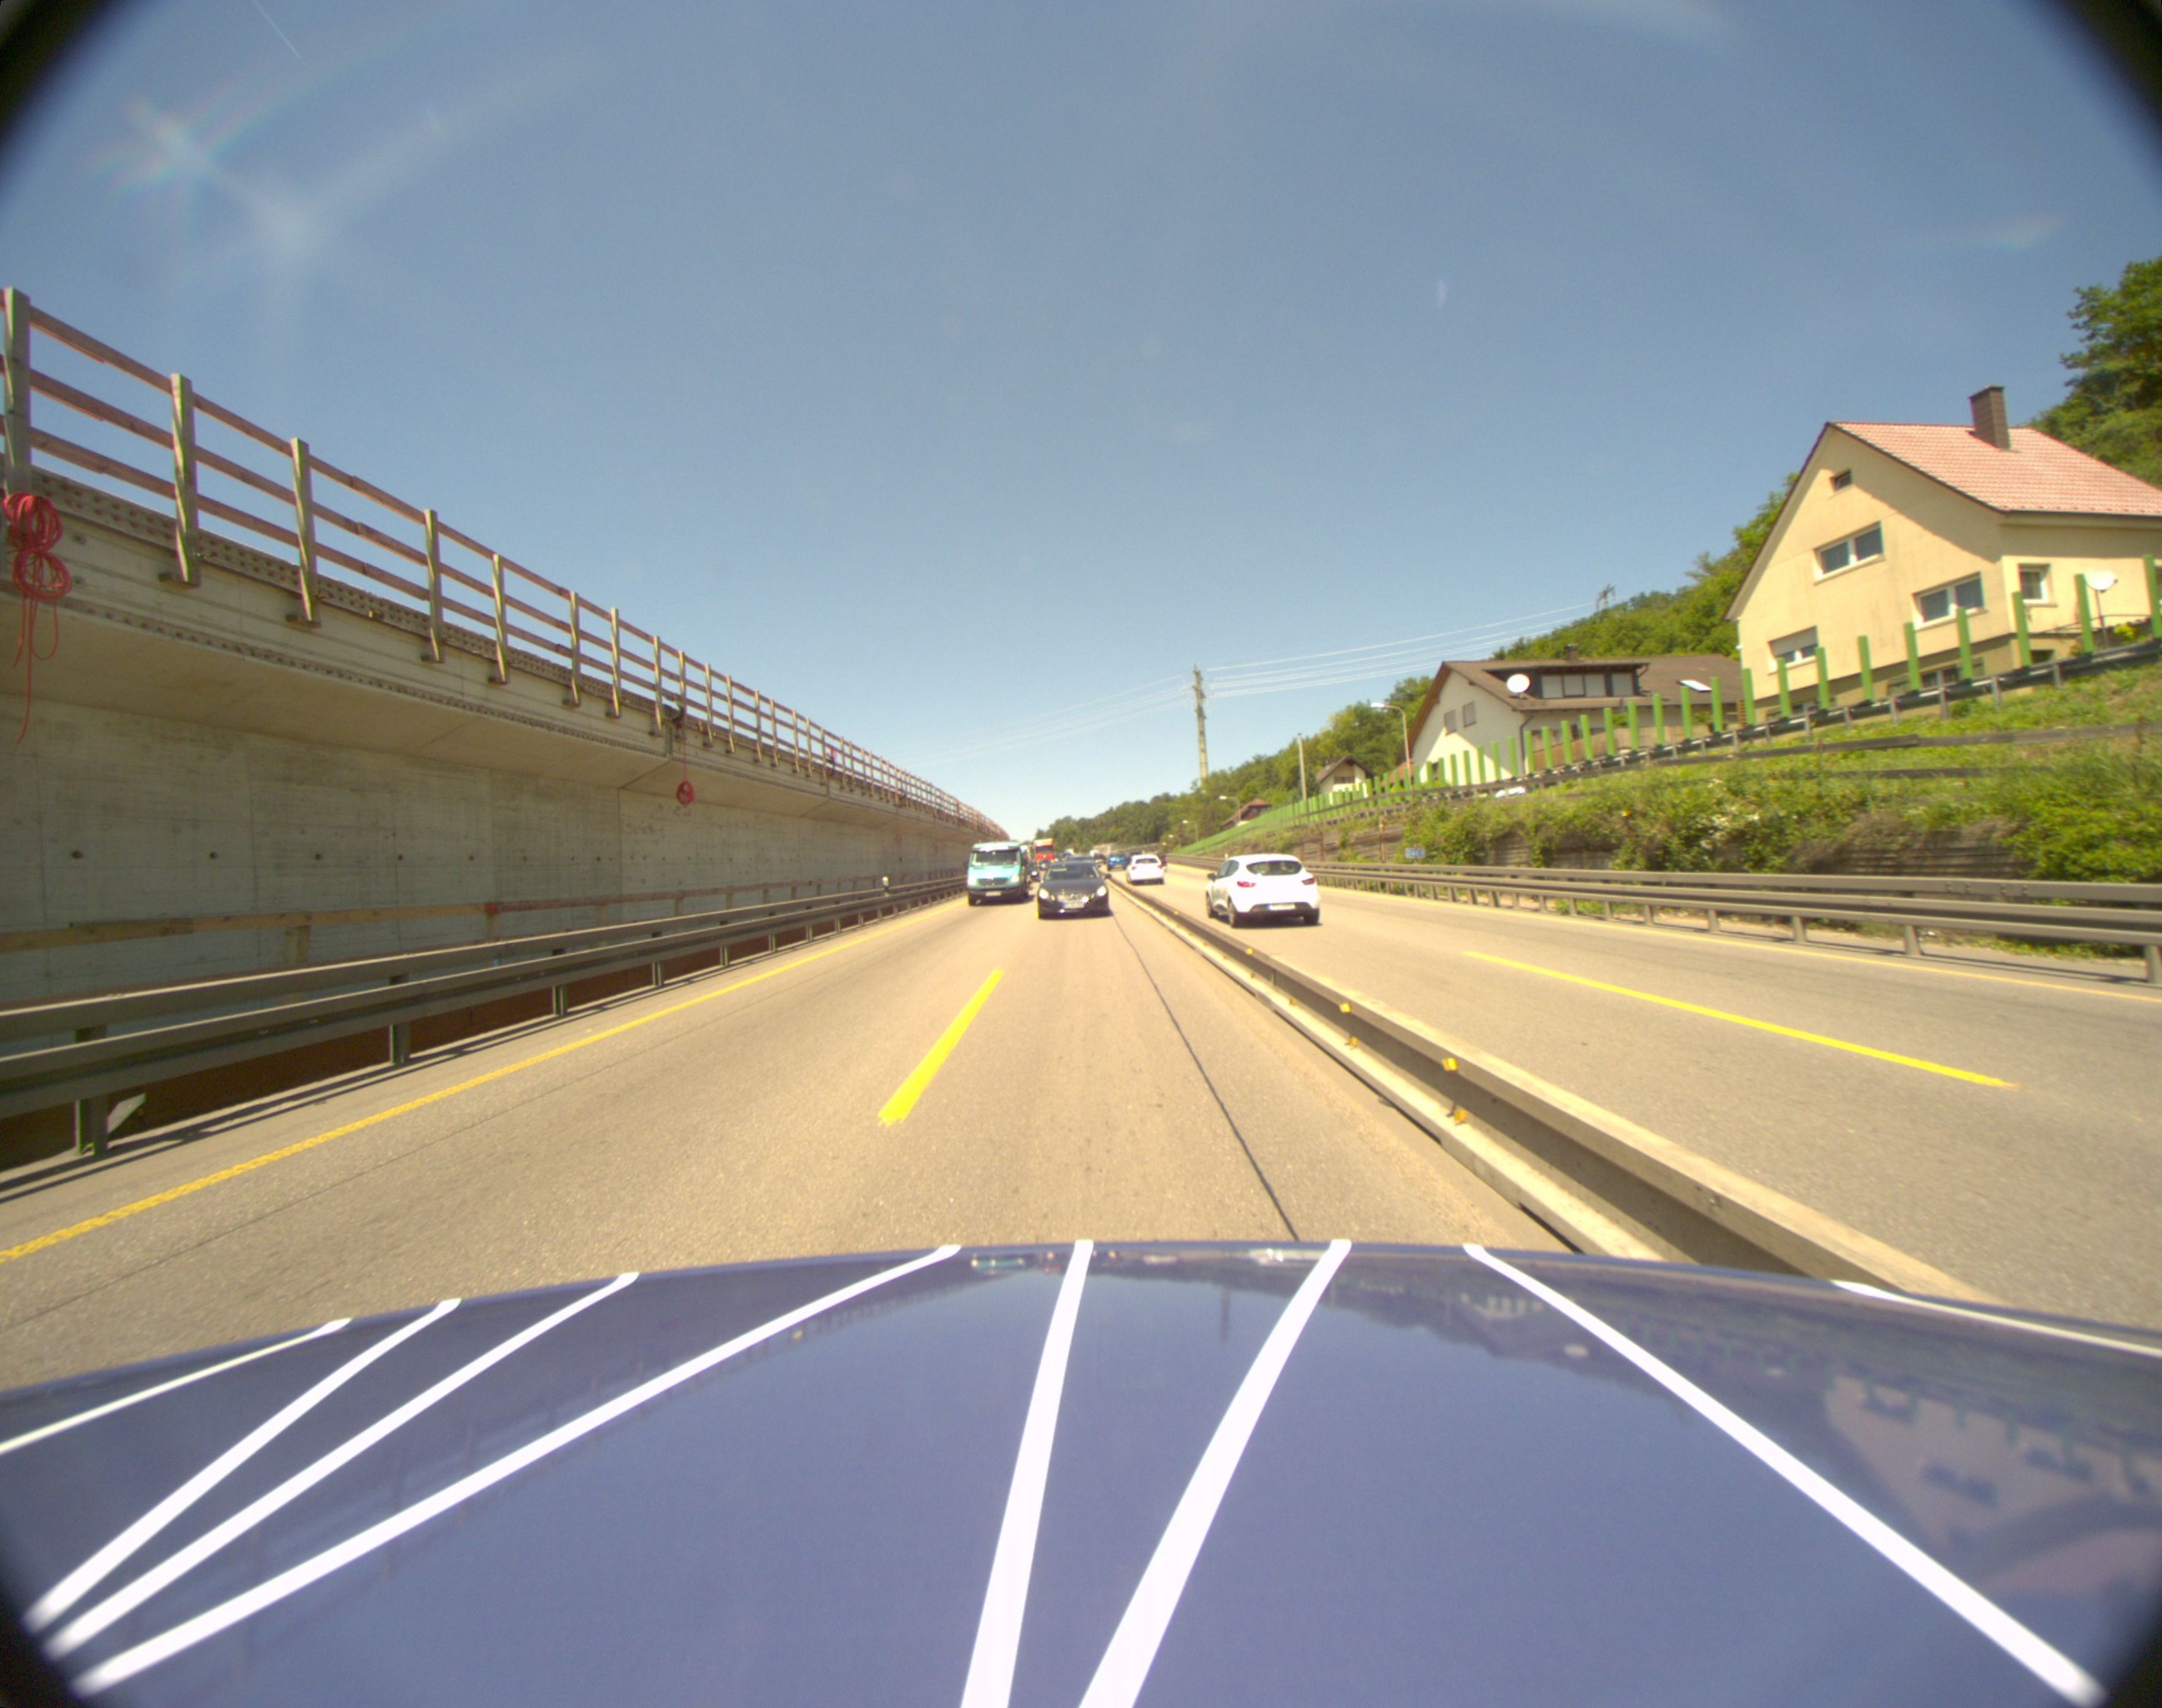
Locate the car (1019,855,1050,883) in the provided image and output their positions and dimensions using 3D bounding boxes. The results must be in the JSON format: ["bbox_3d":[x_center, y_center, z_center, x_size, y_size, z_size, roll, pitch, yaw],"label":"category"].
[{"bbox_3d":[-3.198,0.990,52.861,1.860,1.650,3.999,-6,1,-1],"label":"car"}]

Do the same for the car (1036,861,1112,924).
[{"bbox_3d":[-0.272,0.951,20.543,1.793,1.440,4.296,-2,0,-3],"label":"car"}]

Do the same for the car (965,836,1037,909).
[{"bbox_3d":[-2.999,0.624,30.088,1.968,2.367,7.209,-5,0,-1],"label":"car"}]

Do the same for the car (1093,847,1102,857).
[{"bbox_3d":[3.325,-0.465,150.649,1.600,1.823,4.752,-3,1,0],"label":"car"}]

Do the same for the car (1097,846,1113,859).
[{"bbox_3d":[3.179,-0.249,99.459,1.847,1.521,4.293,-3,1,0],"label":"car"}]

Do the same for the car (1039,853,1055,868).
[{"bbox_3d":[-4.173,0.768,93.017,1.674,1.499,3.647,-6,1,0],"label":"car"}]

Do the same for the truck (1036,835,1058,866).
[{"bbox_3d":[-4.964,-0.540,109.560,2.651,3.978,11.192,-6,1,-3],"label":"truck"}]

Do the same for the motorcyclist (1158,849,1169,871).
[{"bbox_3d":[6.072,0.456,56.031,0.667,1.576,0.736,-2,1,0],"label":"motorcyclist"}]

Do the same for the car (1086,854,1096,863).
[{"bbox_3d":[1.750,0.730,133.757,1.610,1.438,4.668,-3,1,-2],"label":"car"}]

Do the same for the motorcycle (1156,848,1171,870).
[{"bbox_3d":[6.056,0.398,55.892,0.792,1.542,2.621,-3,0,0],"label":"motorcycle"}]

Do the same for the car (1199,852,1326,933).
[{"bbox_3d":[3.753,0.733,16.314,1.695,1.477,3.749,-2,0,-1],"label":"car"}]

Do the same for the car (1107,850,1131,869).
[{"bbox_3d":[3.376,0.475,67.365,1.768,1.601,3.891,-2,0,-1],"label":"car"}]

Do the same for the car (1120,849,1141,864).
[{"bbox_3d":[5.464,0.236,84.987,1.818,1.440,5.005,-4,1,-1],"label":"car"}]

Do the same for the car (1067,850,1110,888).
[{"bbox_3d":[0.340,0.730,39.519,1.860,1.650,3.998,-6,1,-2],"label":"car"}]

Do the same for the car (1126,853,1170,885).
[{"bbox_3d":[3.432,0.741,39.409,1.771,1.477,3.865,-2,0,-1],"label":"car"}]
